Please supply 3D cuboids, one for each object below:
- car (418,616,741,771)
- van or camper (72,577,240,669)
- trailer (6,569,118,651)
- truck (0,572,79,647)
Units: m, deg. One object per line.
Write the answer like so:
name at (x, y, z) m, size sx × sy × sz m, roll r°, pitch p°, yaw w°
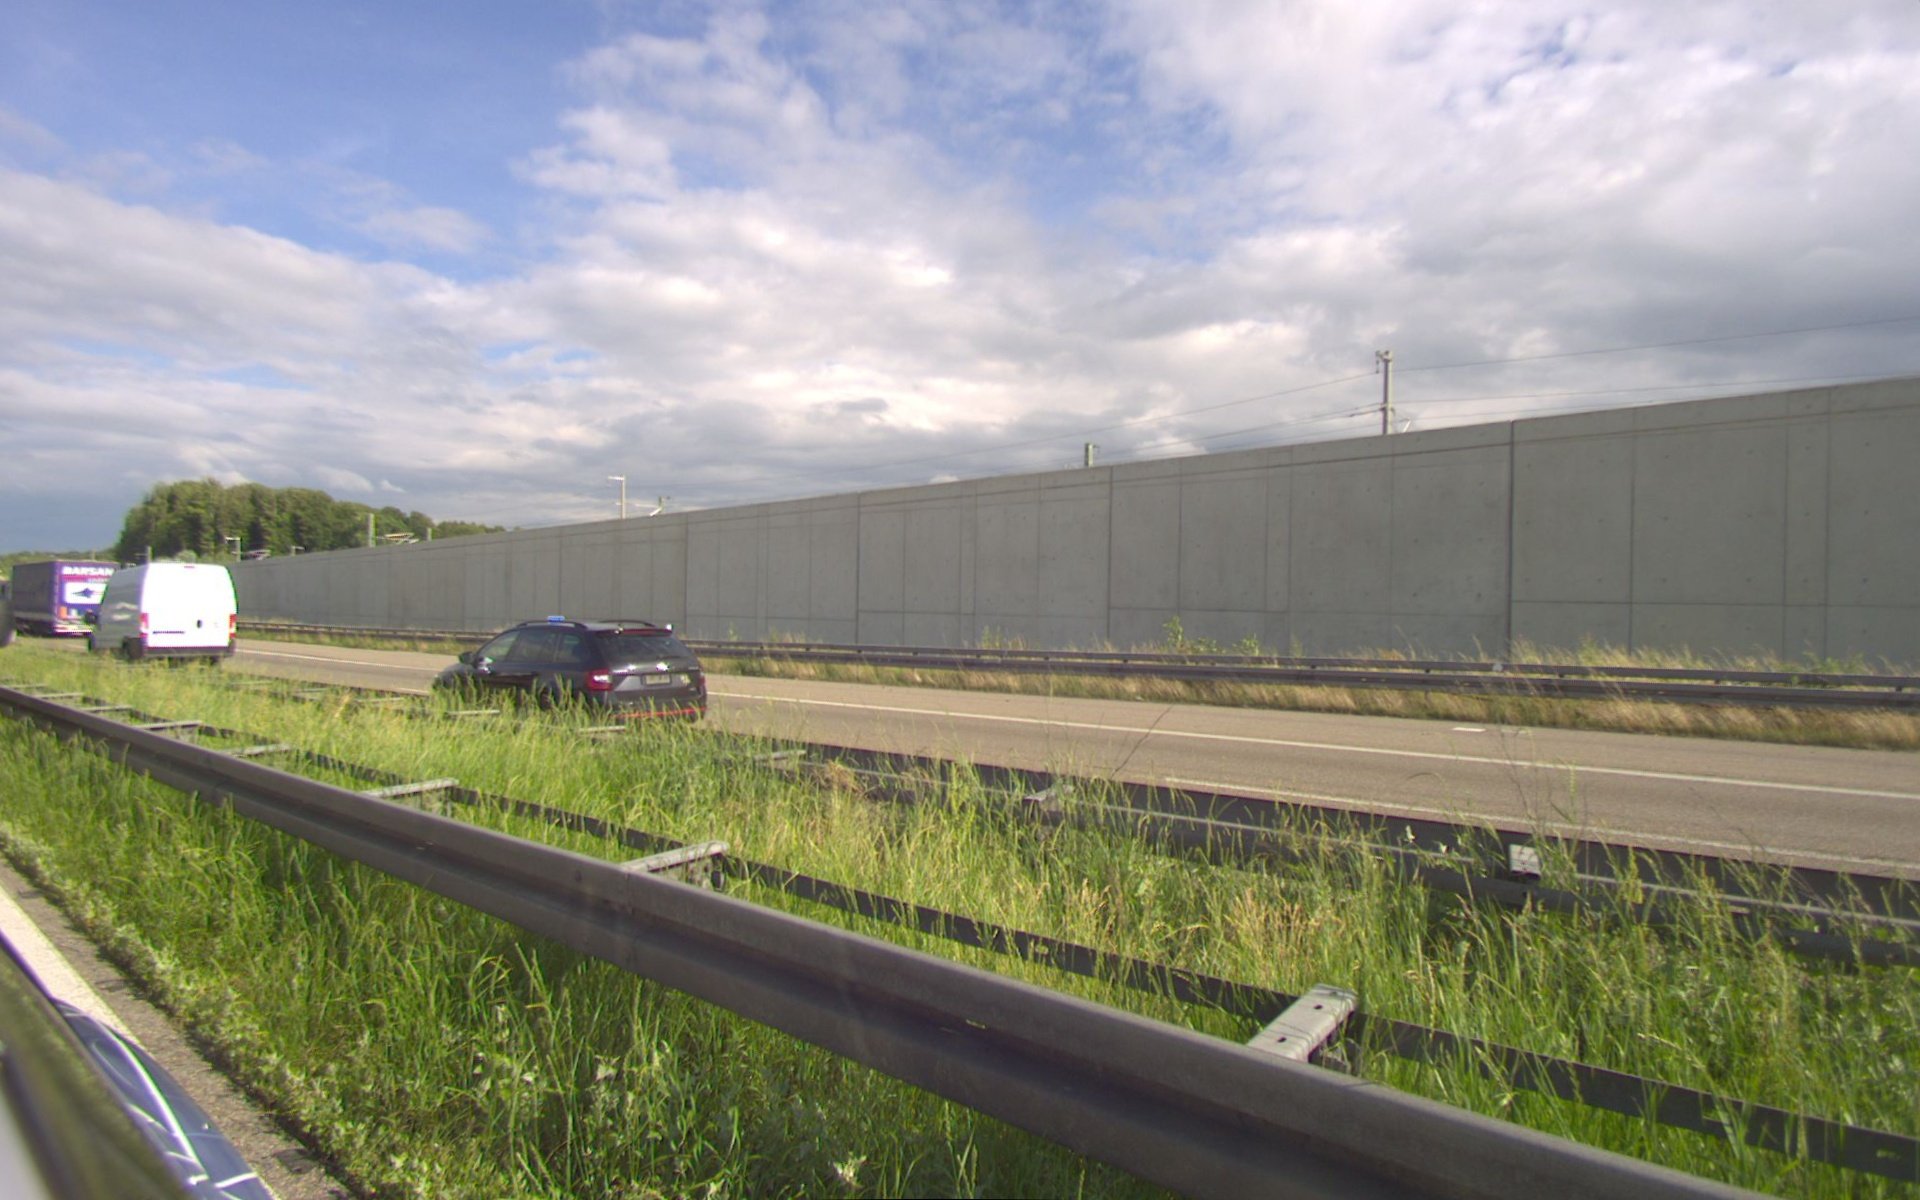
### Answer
car at (-4.836, 0.990, 12.504) m, size 4.549 × 1.519 × 1.824 m, roll -1°, pitch 0°, yaw 41°
van or camper at (-21.650, 0.570, 27.134) m, size 6.250 × 2.222 × 2.146 m, roll -1°, pitch 0°, yaw 38°
trailer at (-49.328, 0.518, 55.405) m, size 12.384 × 4.111 × 2.628 m, roll -1°, pitch 0°, yaw 39°
truck at (-54.139, 0.547, 59.371) m, size 6.996 × 4.129 × 2.611 m, roll -1°, pitch 0°, yaw 40°
